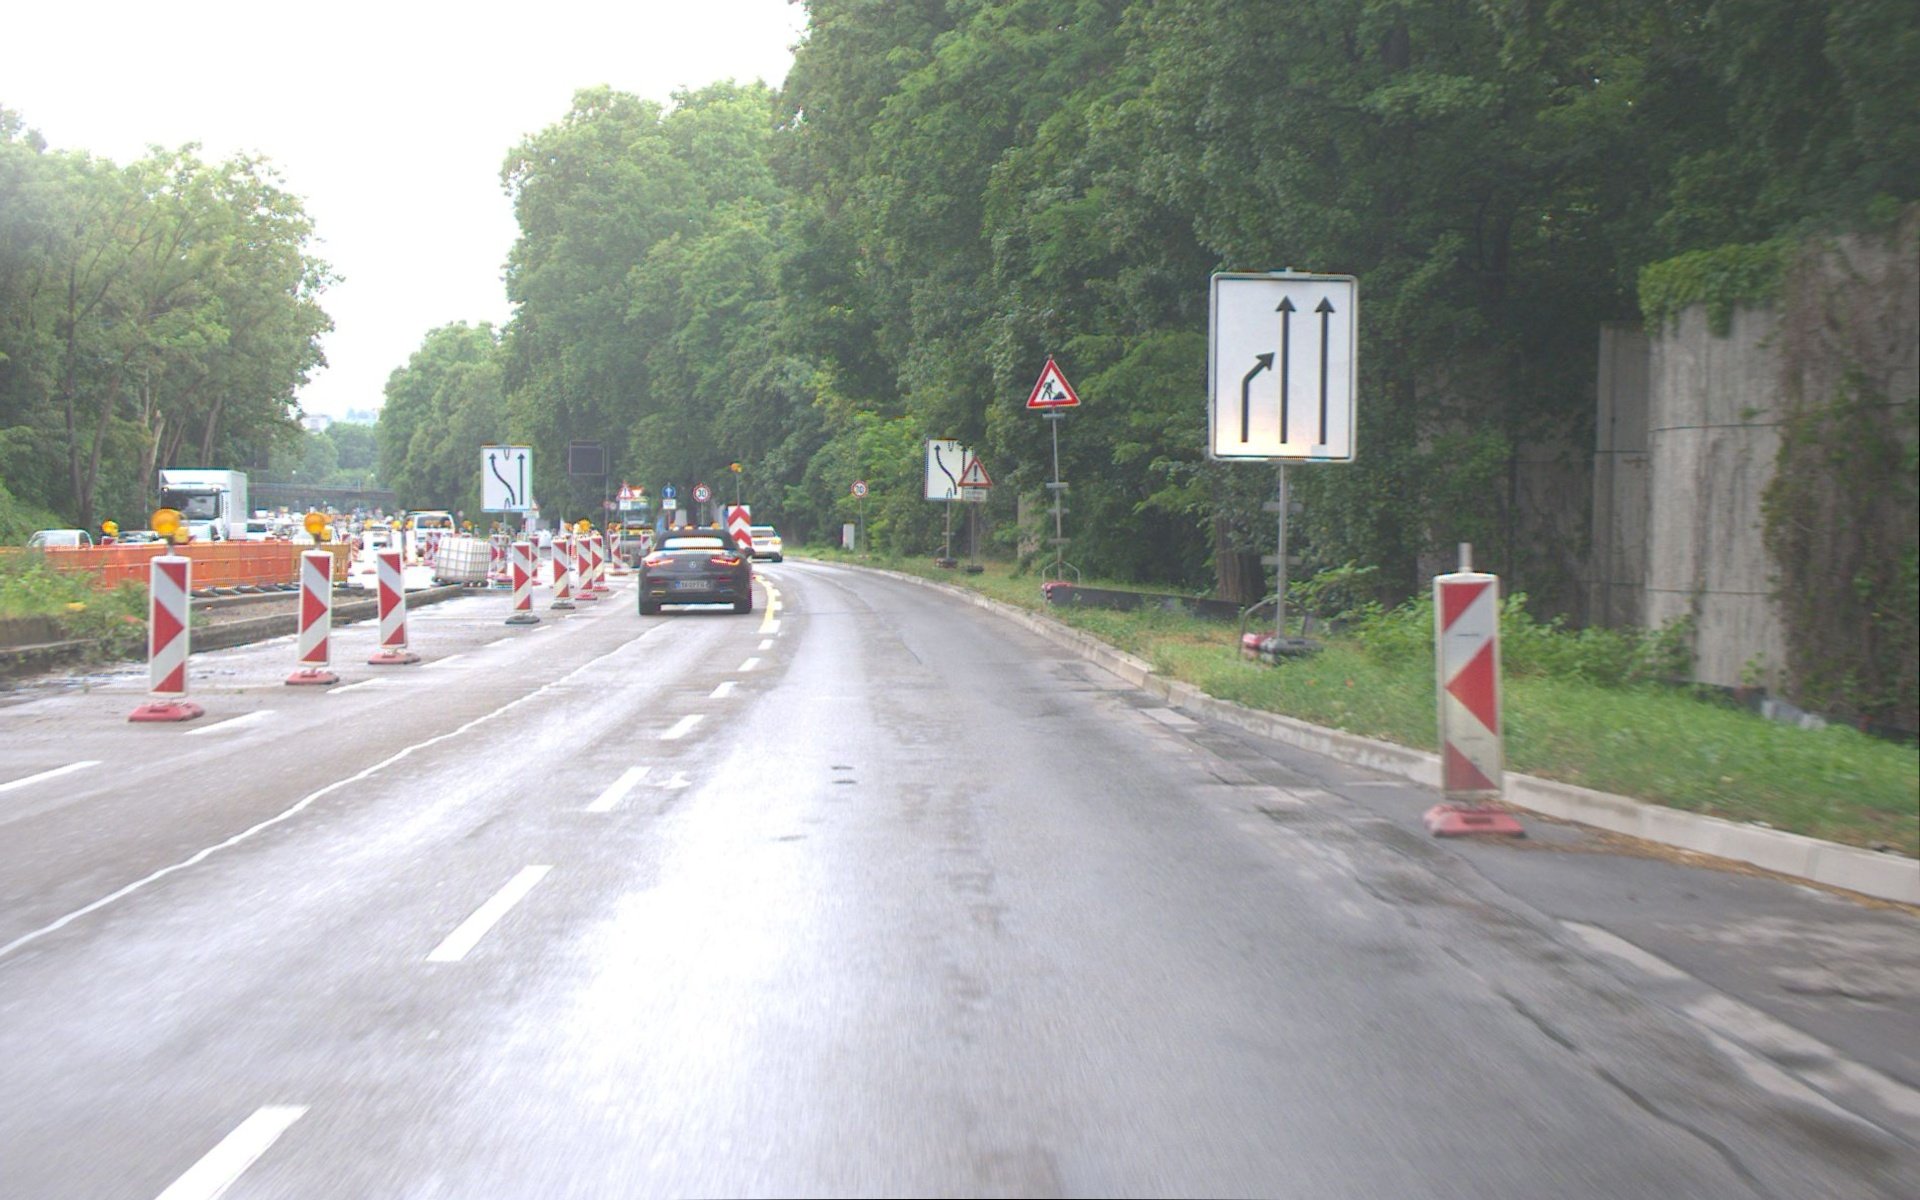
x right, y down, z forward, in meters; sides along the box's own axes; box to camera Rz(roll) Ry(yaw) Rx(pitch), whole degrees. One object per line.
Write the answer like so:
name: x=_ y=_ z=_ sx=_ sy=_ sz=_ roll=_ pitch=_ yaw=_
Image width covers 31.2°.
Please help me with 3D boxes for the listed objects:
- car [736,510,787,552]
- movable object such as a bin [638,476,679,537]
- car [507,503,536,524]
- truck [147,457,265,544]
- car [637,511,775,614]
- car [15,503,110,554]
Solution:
car: x=-8.031 y=-2.790 z=138.664 sx=1.914 sy=1.592 sz=4.835 roll=0 pitch=2 yaw=-5
movable object such as a bin: x=-14.570 y=-4.511 z=165.819 sx=1.746 sy=2.857 sz=3.535 roll=-1 pitch=2 yaw=-8
car: x=-31.995 y=-6.313 z=250.723 sx=1.756 sy=1.339 sz=4.002 roll=1 pitch=3 yaw=-12
truck: x=-28.329 y=-3.728 z=129.572 sx=2.795 sy=3.137 sz=10.150 roll=0 pitch=1 yaw=-4
car: x=-4.260 y=-0.664 z=58.149 sx=1.862 sy=1.486 sz=4.001 roll=2 pitch=4 yaw=2
car: x=-25.592 y=-2.063 z=98.151 sx=1.790 sy=1.420 sz=3.897 roll=0 pitch=2 yaw=-2
